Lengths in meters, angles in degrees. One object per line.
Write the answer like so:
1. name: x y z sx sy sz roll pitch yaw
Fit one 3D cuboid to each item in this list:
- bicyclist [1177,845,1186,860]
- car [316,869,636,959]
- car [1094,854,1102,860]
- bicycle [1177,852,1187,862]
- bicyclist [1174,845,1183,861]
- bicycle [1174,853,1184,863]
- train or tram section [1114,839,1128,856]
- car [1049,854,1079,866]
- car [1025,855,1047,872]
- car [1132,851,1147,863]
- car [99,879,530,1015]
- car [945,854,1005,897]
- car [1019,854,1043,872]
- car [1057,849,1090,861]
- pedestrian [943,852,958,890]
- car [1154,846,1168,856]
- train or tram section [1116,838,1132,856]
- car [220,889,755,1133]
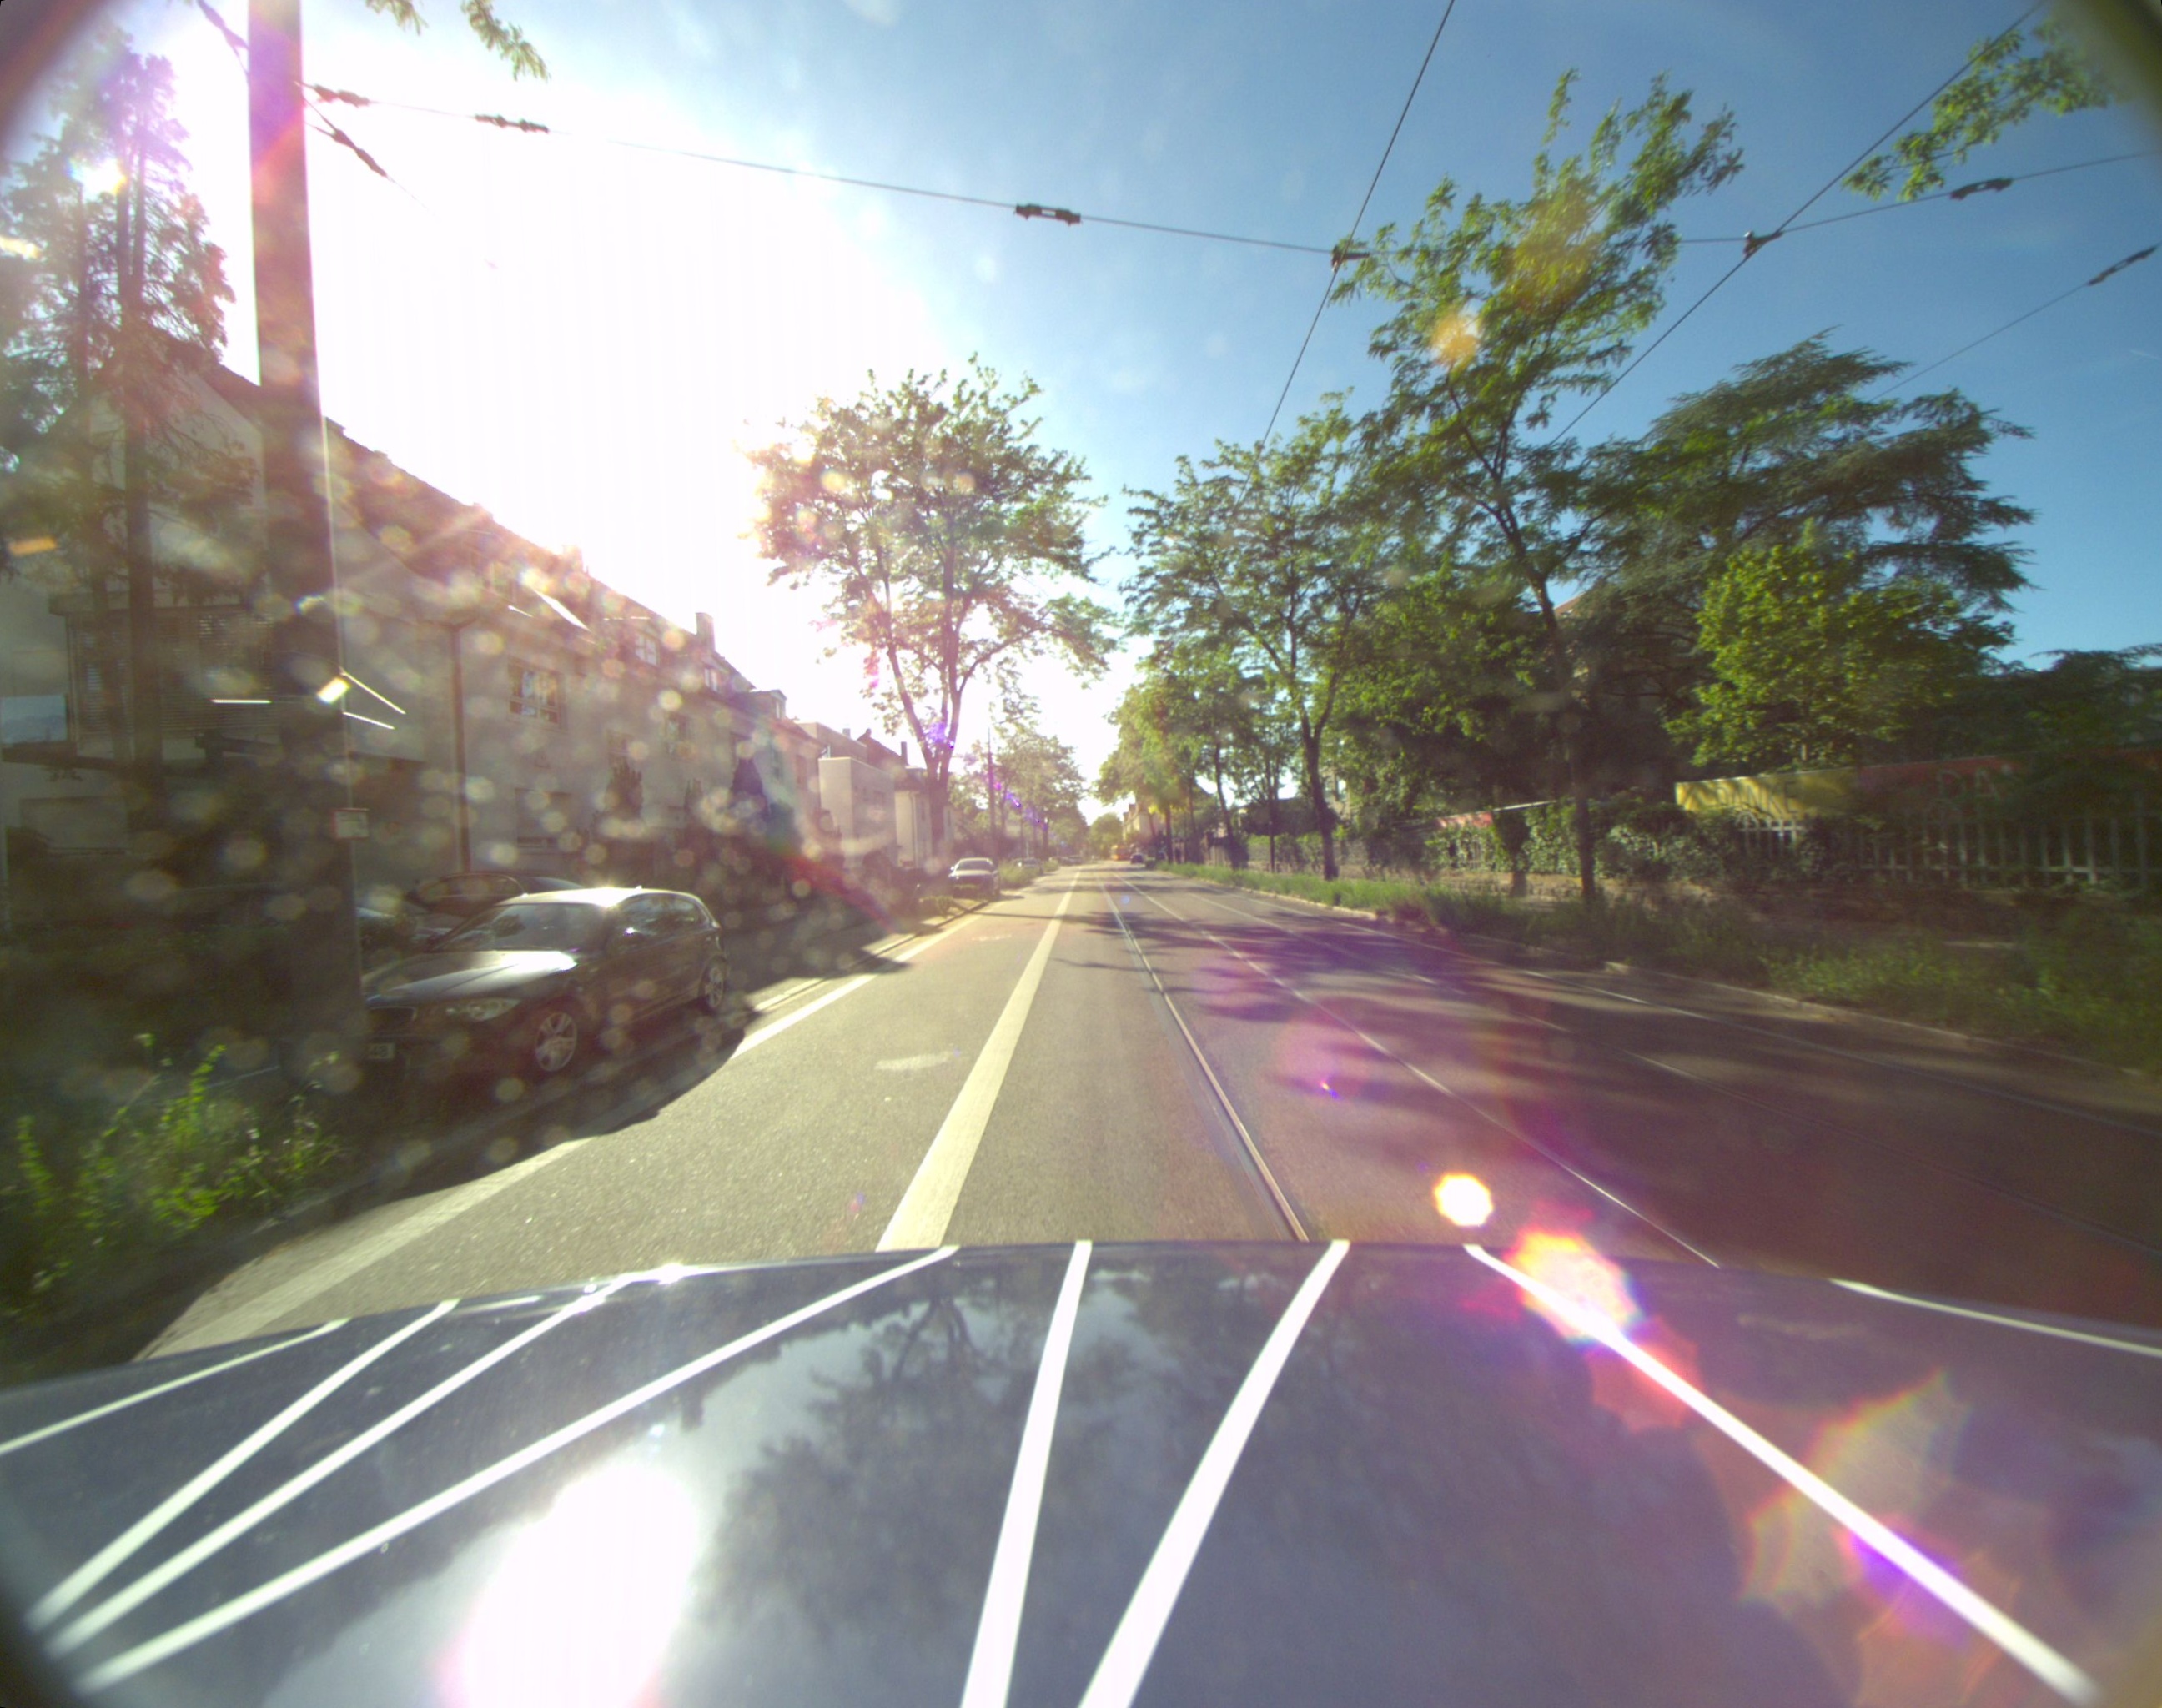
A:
1. bicyclist: 9.874 -0.145 74.829 0.711 1.490 0.956 -4 1 1
2. car: -10.858 1.034 13.846 4.431 1.481 1.859 0 0 3
3. car: 4.601 0.741 205.040 1.743 1.450 3.691 -3 0 -8
4. bicycle: 9.914 0.292 74.836 0.720 0.968 1.888 -4 1 1
5. bicyclist: 9.274 -0.064 72.216 0.710 1.462 1.041 -2 1 2
6. bicycle: 9.296 0.377 72.159 0.713 0.955 2.094 -2 0 2
7. train or tram section: 8.770 -1.443 166.938 2.811 3.439 6.668 -3 0 1
8. car: -2.407 0.860 111.232 3.994 1.499 1.983 -3 1 10
9. car: -4.225 0.844 71.649 1.753 1.486 4.443 -2 0 1
10. car: 7.860 0.382 102.213 1.752 1.515 4.072 -3 0 8
11. car: -9.861 1.142 10.063 3.749 1.481 1.739 -1 0 -5
12. car: -4.542 0.878 33.270 1.999 1.694 4.477 0 0 0
13. car: -4.312 0.752 65.842 1.753 1.486 3.996 -2 0 1
14. car: -1.137 0.168 113.246 4.572 1.515 2.001 -3 1 11
15. pedestrian: -6.457 0.853 37.532 0.627 1.859 0.732 0 1 0
16. car: 13.017 -0.468 123.374 1.753 1.515 4.035 -3 0 1
17. train or tram section: 8.589 -1.442 153.536 2.811 3.439 6.668 -3 0 1
18. car: -4.892 1.154 7.248 1.788 1.440 4.300 0 0 -1
